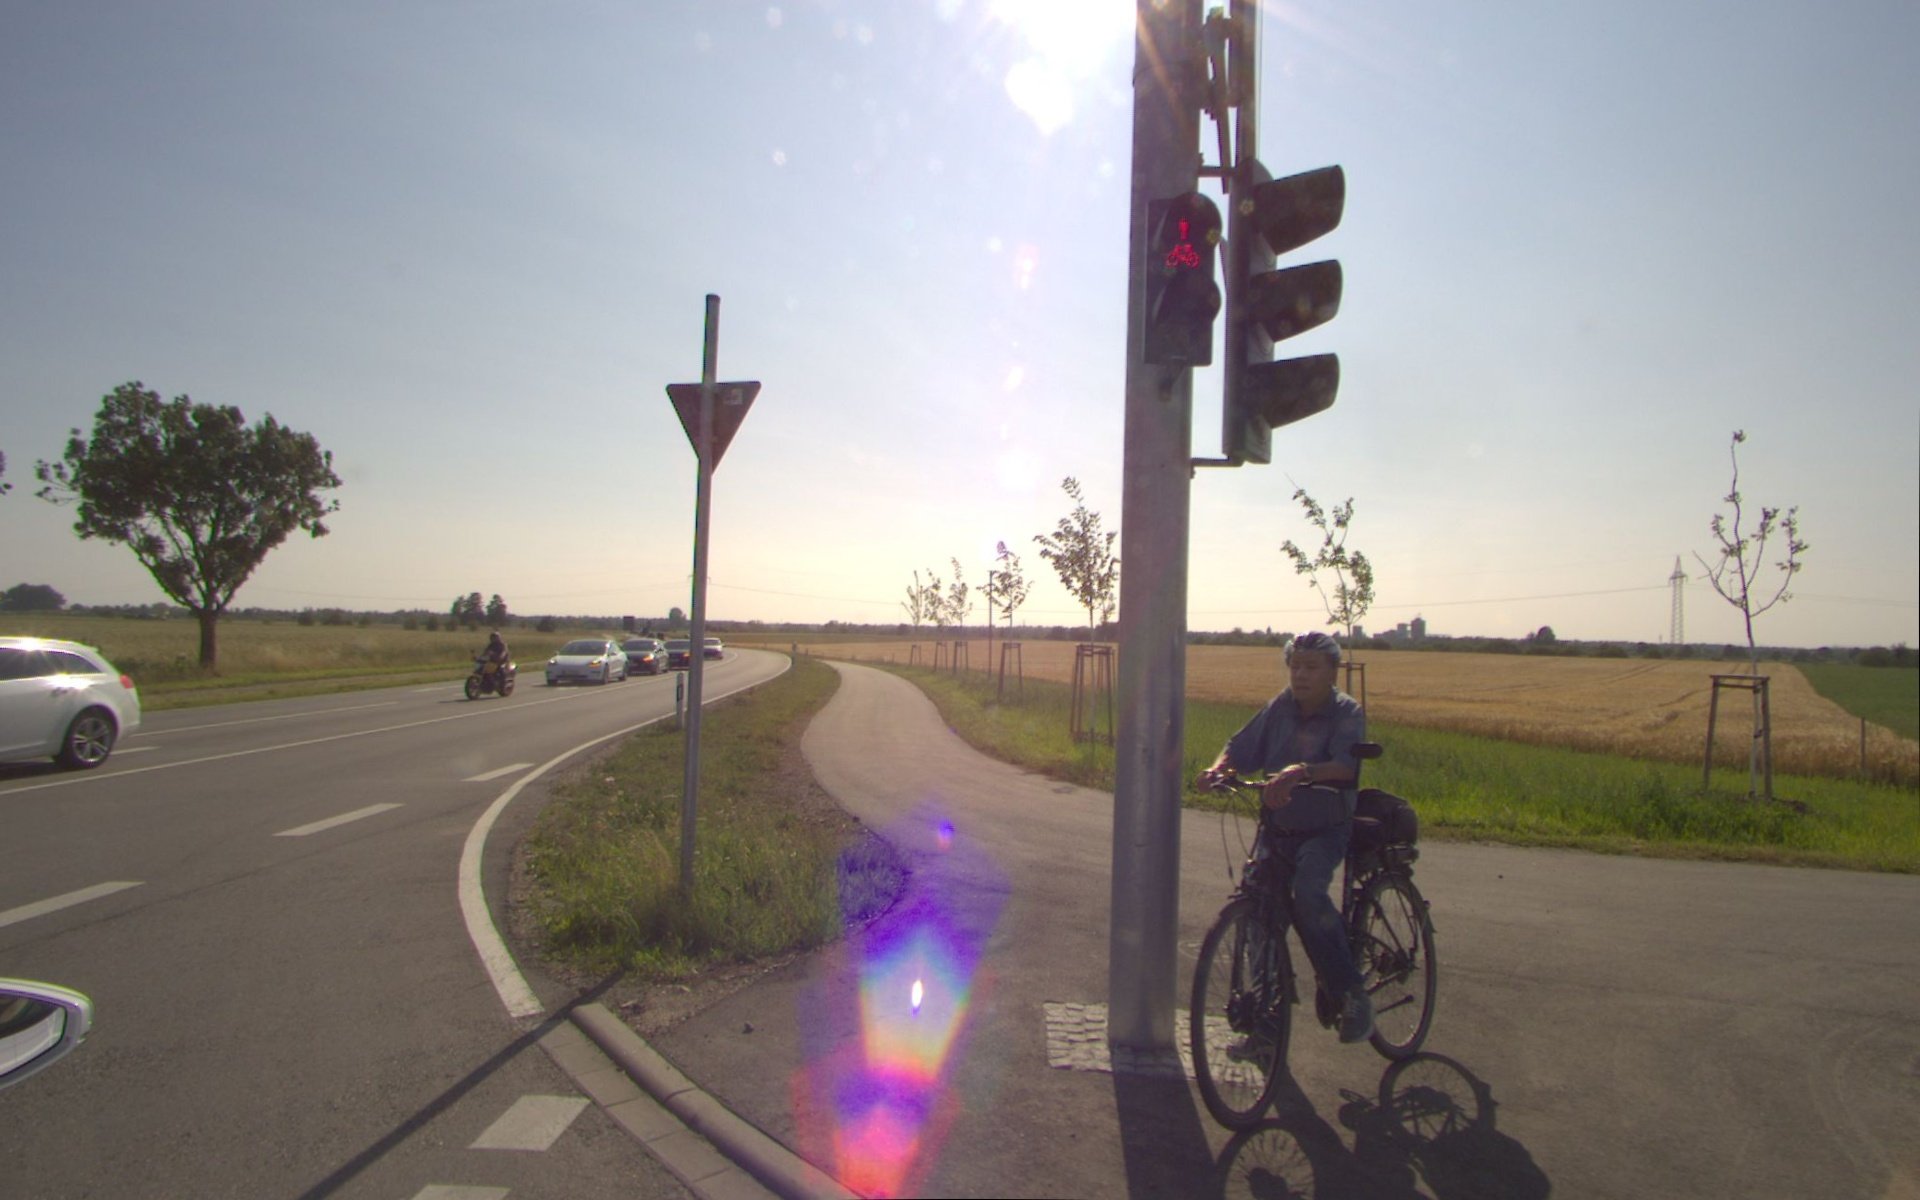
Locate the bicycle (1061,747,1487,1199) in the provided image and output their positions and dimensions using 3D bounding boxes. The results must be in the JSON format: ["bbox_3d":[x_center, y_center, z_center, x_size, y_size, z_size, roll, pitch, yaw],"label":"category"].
[{"bbox_3d":[1.258,1.155,3.687,0.675,1.164,1.929,-2,-7,45],"label":"bicycle"}]

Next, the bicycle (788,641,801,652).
[{"bbox_3d":[-18.716,5.220,113.294,0.835,1.156,2.198,4,-3,-25],"label":"bicycle"}]

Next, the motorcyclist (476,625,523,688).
[{"bbox_3d":[-11.608,1.415,25.279,0.668,1.535,1.181,1,-1,-4],"label":"motorcyclist"}]

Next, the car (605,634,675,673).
[{"bbox_3d":[-13.169,2.190,41.467,1.860,1.479,4.307,1,-2,-6],"label":"car"}]

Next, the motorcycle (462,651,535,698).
[{"bbox_3d":[-11.648,1.861,25.397,0.882,1.057,2.429,1,-2,-5],"label":"motorcycle"}]

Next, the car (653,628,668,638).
[{"bbox_3d":[-65.245,7.184,218.267,1.824,1.856,4.436,5,-3,-35],"label":"car"}]

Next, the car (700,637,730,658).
[{"bbox_3d":[-17.193,3.309,70.405,1.659,1.421,4.000,0,-2,-8],"label":"car"}]

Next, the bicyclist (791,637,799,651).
[{"bbox_3d":[-18.725,4.989,113.402,0.630,1.475,0.814,4,-2,-25],"label":"bicyclist"}]

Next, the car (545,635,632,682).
[{"bbox_3d":[-12.387,1.920,33.638,1.860,1.485,4.275,1,-2,-8],"label":"car"}]

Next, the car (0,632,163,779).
[{"bbox_3d":[-10.702,1.070,10.025,1.730,1.510,4.710,0,-2,-1],"label":"car"}]

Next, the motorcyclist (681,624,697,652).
[{"bbox_3d":[-14.589,2.057,53.985,0.667,1.514,0.847,1,-1,-6],"label":"motorcyclist"}]

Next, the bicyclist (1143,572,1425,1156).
[{"bbox_3d":[1.207,0.858,3.656,0.910,1.786,0.614,7,-6,-45],"label":"bicyclist"}]

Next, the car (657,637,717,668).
[{"bbox_3d":[-13.253,2.536,48.883,1.859,1.454,4.799,1,-2,-4],"label":"car"}]
